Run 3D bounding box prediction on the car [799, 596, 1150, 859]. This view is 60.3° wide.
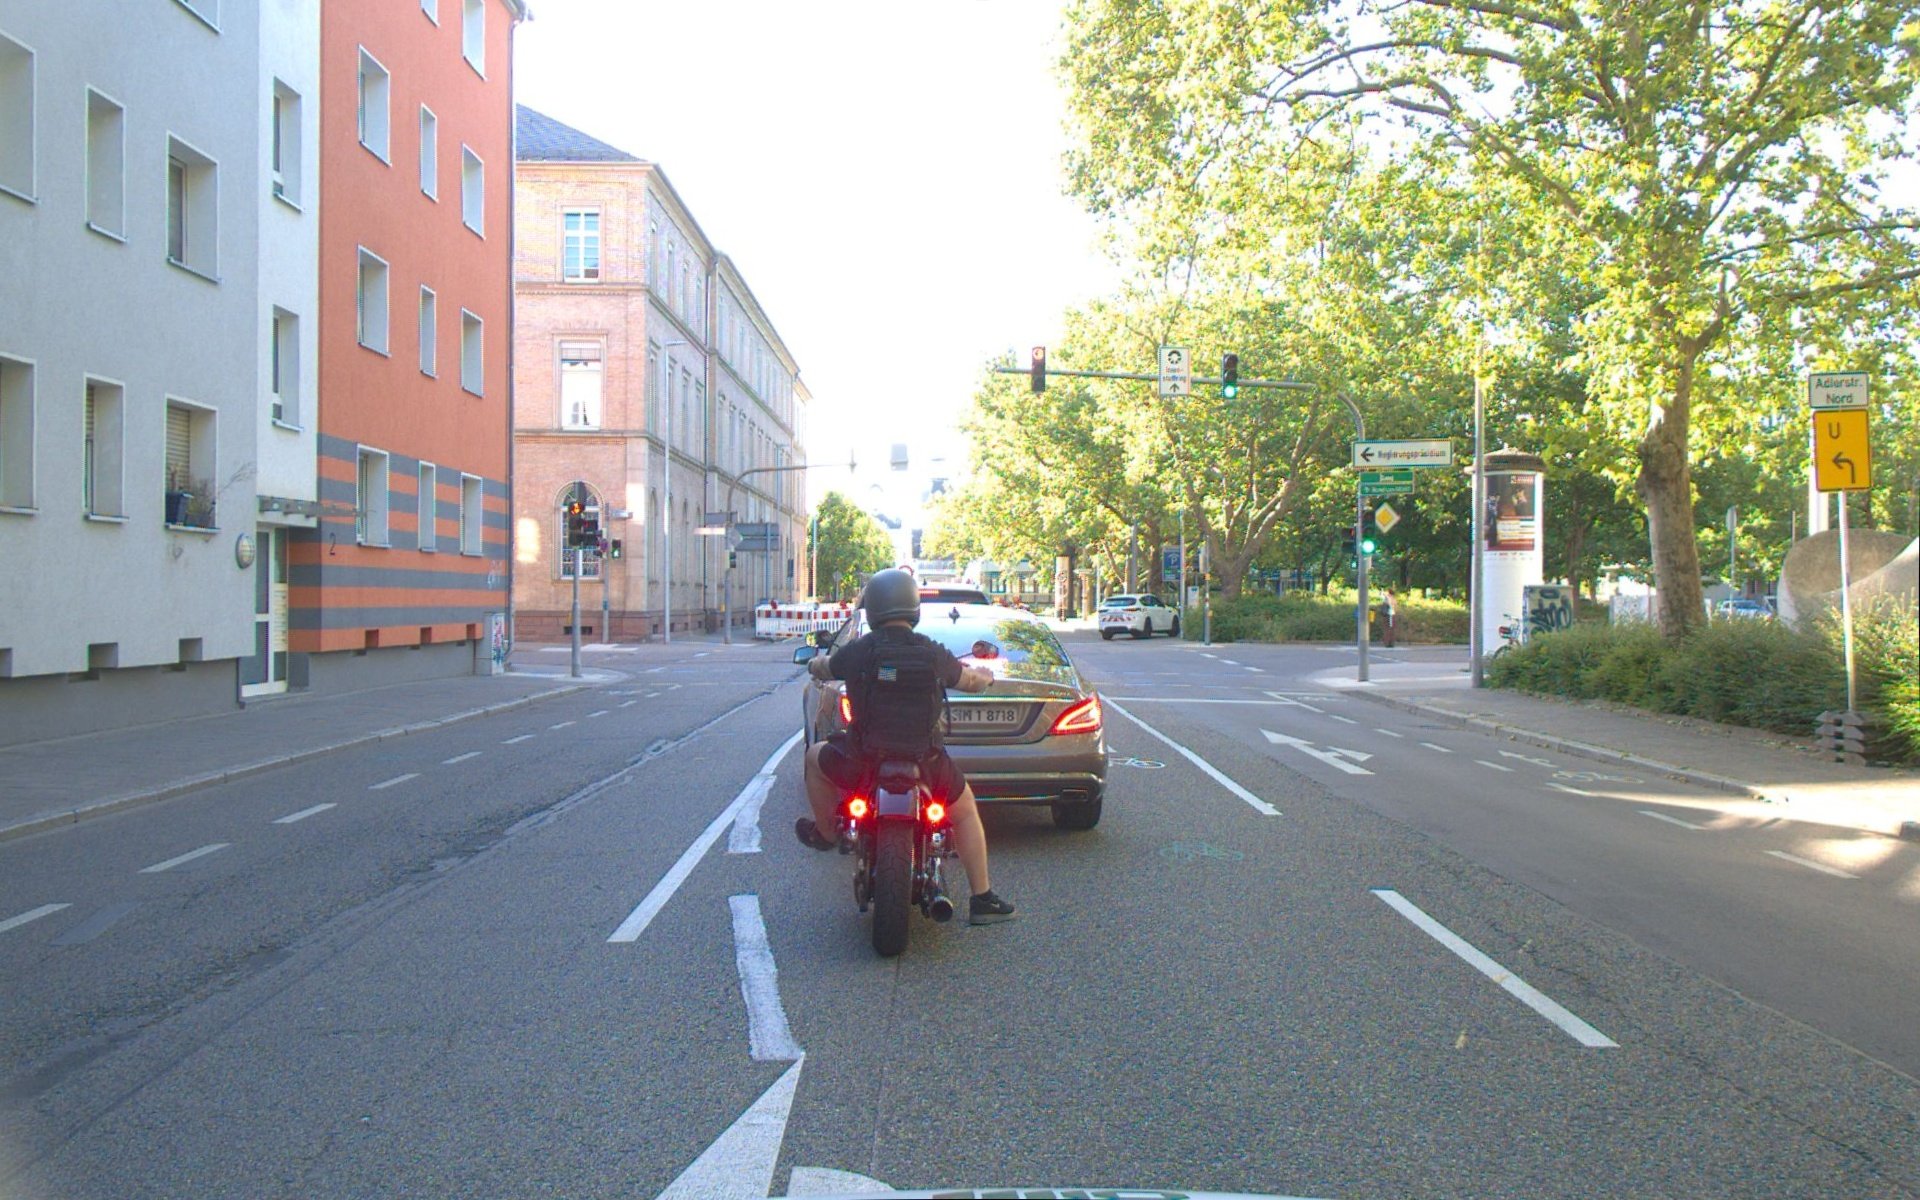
[{"bbox_3d":[-0.113,0.710,11.615,1.834,1.469,4.422,0,0,-8],"label":"car"}]

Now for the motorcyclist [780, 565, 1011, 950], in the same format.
[{"bbox_3d":[-0.278,0.656,7.535,0.961,1.606,1.248,0,0,-1],"label":"motorcyclist"}]

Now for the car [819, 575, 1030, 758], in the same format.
[{"bbox_3d":[-0.362,0.633,17.535,1.953,1.695,3.999,1,0,-1],"label":"car"}]

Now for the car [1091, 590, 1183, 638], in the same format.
[{"bbox_3d":[6.921,0.532,64.372,1.907,1.738,4.475,2,0,29],"label":"car"}]

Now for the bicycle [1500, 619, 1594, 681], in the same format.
[{"bbox_3d":[9.788,0.836,27.591,1.452,0.997,0.299,1,-1,5],"label":"bicycle"}]

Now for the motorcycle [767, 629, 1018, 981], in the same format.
[{"bbox_3d":[-0.277,0.807,7.553,0.961,1.297,2.407,0,0,-1],"label":"motorcycle"}]

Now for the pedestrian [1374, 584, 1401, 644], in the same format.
[{"bbox_3d":[13.134,0.424,50.797,0.664,1.803,0.616,1,-1,29],"label":"pedestrian"}]
